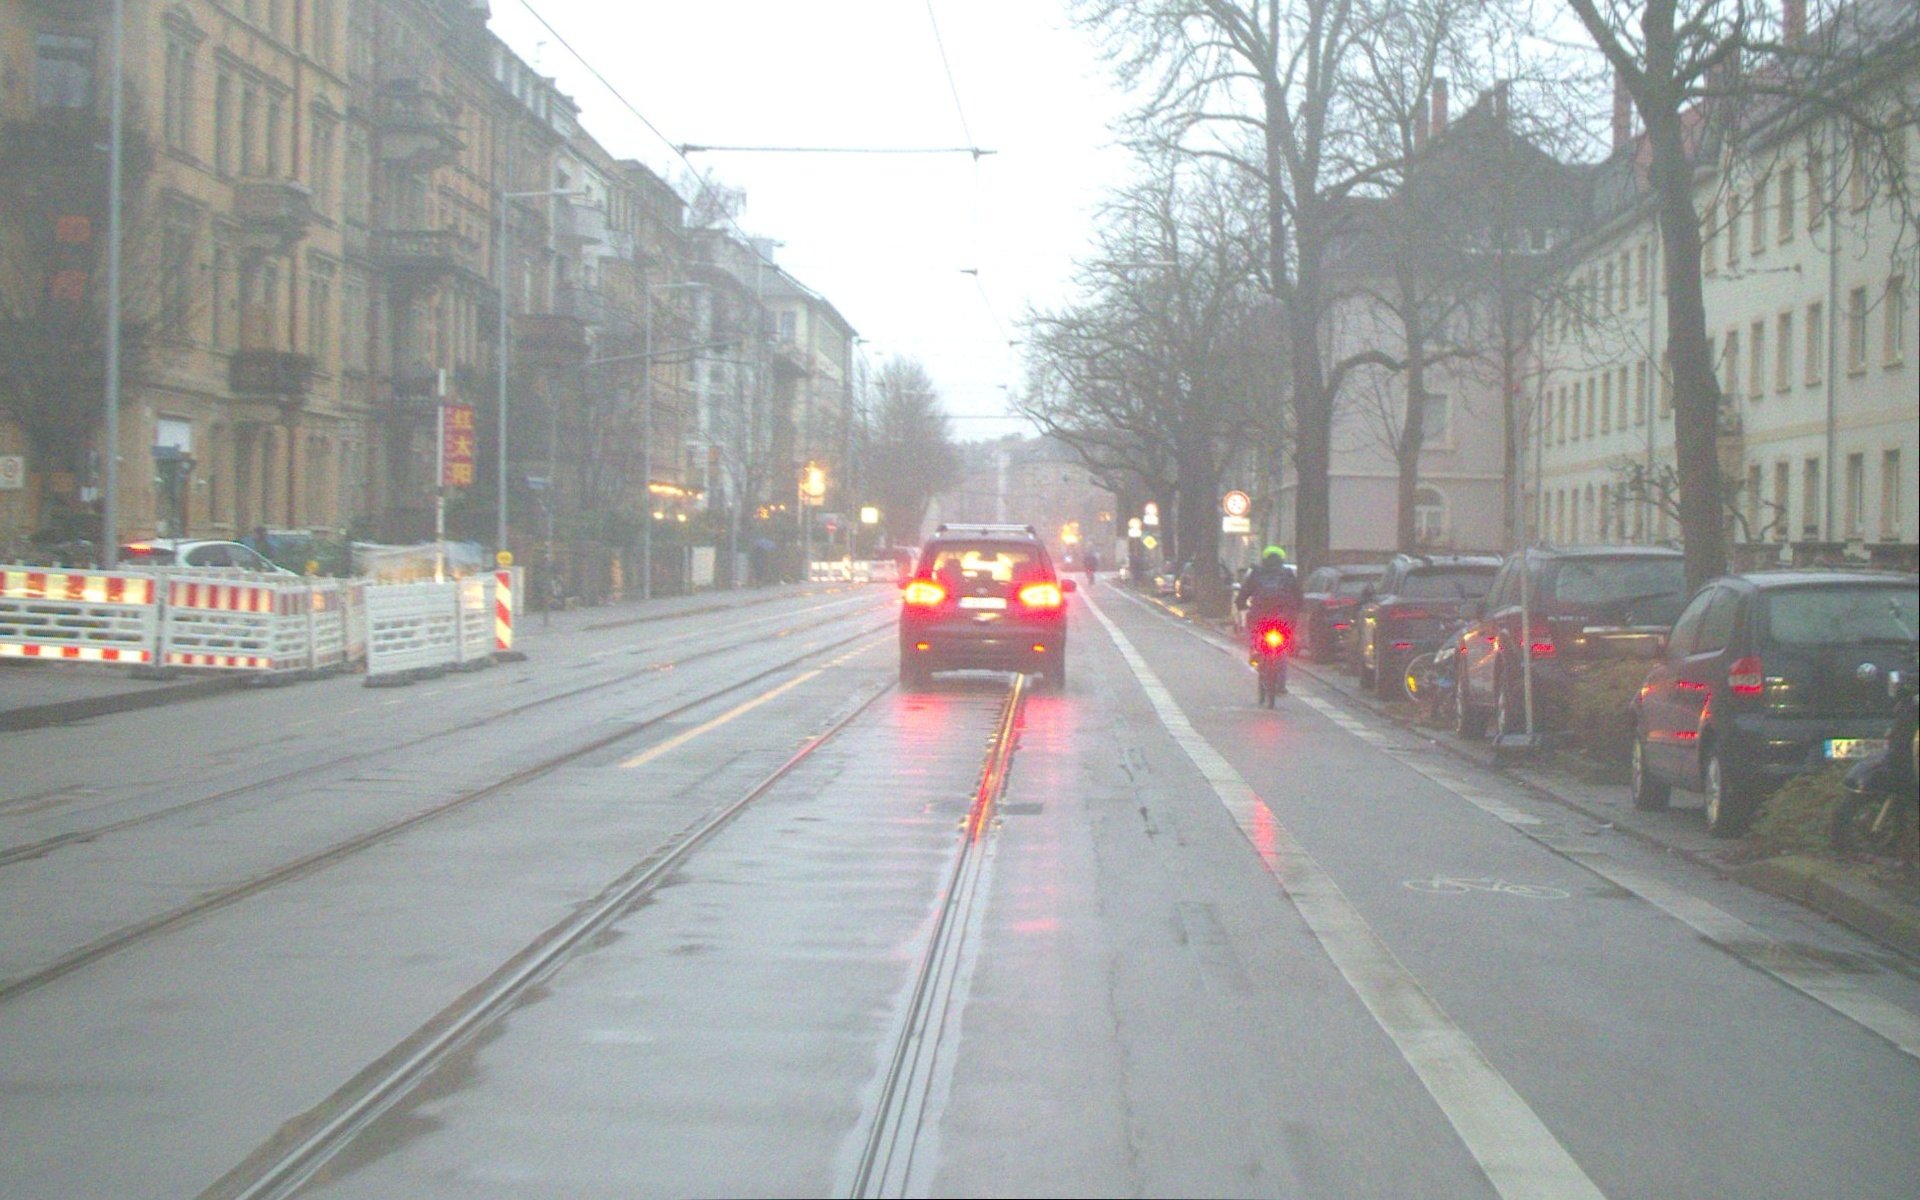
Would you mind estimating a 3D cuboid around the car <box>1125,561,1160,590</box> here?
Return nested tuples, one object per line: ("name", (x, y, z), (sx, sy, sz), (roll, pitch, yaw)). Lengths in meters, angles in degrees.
("car", (9.792, -1.324, 184.599), (1.785, 1.504, 4.108), (1, 1, 2))

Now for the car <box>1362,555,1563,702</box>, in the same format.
("car", (5.877, 0.293, 40.668), (1.906, 1.604, 4.560), (1, 1, 3))

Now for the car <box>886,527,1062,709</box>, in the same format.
("car", (0.207, 0.164, 39.370), (1.802, 1.864, 4.018), (4, 1, 2))

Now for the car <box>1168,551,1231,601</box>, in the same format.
("car", (7.488, -0.776, 107.565), (1.785, 1.504, 4.108), (1, 1, 2))

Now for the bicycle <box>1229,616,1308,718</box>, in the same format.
("bicycle", (3.244, 0.690, 36.228), (0.731, 1.003, 1.763), (1, 1, 3))

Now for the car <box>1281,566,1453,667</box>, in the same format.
("car", (6.052, 0.210, 51.615), (1.878, 1.415, 4.344), (-1, 1, -2))

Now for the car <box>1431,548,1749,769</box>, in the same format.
("car", (5.341, 0.432, 29.790), (1.905, 1.721, 4.902), (1, 1, 1))

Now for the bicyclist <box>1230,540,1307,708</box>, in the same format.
("bicyclist", (3.249, 0.245, 36.229), (0.730, 1.730, 0.765), (1, 1, 3))

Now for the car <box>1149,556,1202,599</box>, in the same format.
("car", (7.860, -0.844, 125.590), (1.785, 1.504, 4.108), (1, 1, 2))

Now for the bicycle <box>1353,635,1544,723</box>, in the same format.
("bicycle", (5.281, 0.845, 37.150), (2.014, 0.913, 0.464), (0, 1, 11))

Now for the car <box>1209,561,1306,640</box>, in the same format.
("car", (6.027, -0.014, 69.939), (1.785, 1.504, 4.108), (1, 1, 3))

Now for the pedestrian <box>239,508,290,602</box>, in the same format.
("pedestrian", (-13.283, -0.859, 65.668), (0.718, 1.767, 0.770), (1, 1, -31))

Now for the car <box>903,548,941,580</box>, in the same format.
("car", (-2.081, -1.971, 188.351), (1.923, 1.714, 4.000), (1, 1, 2))

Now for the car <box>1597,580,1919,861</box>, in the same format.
("car", (5.137, 0.660, 20.998), (1.785, 1.504, 3.987), (1, 1, 1))
